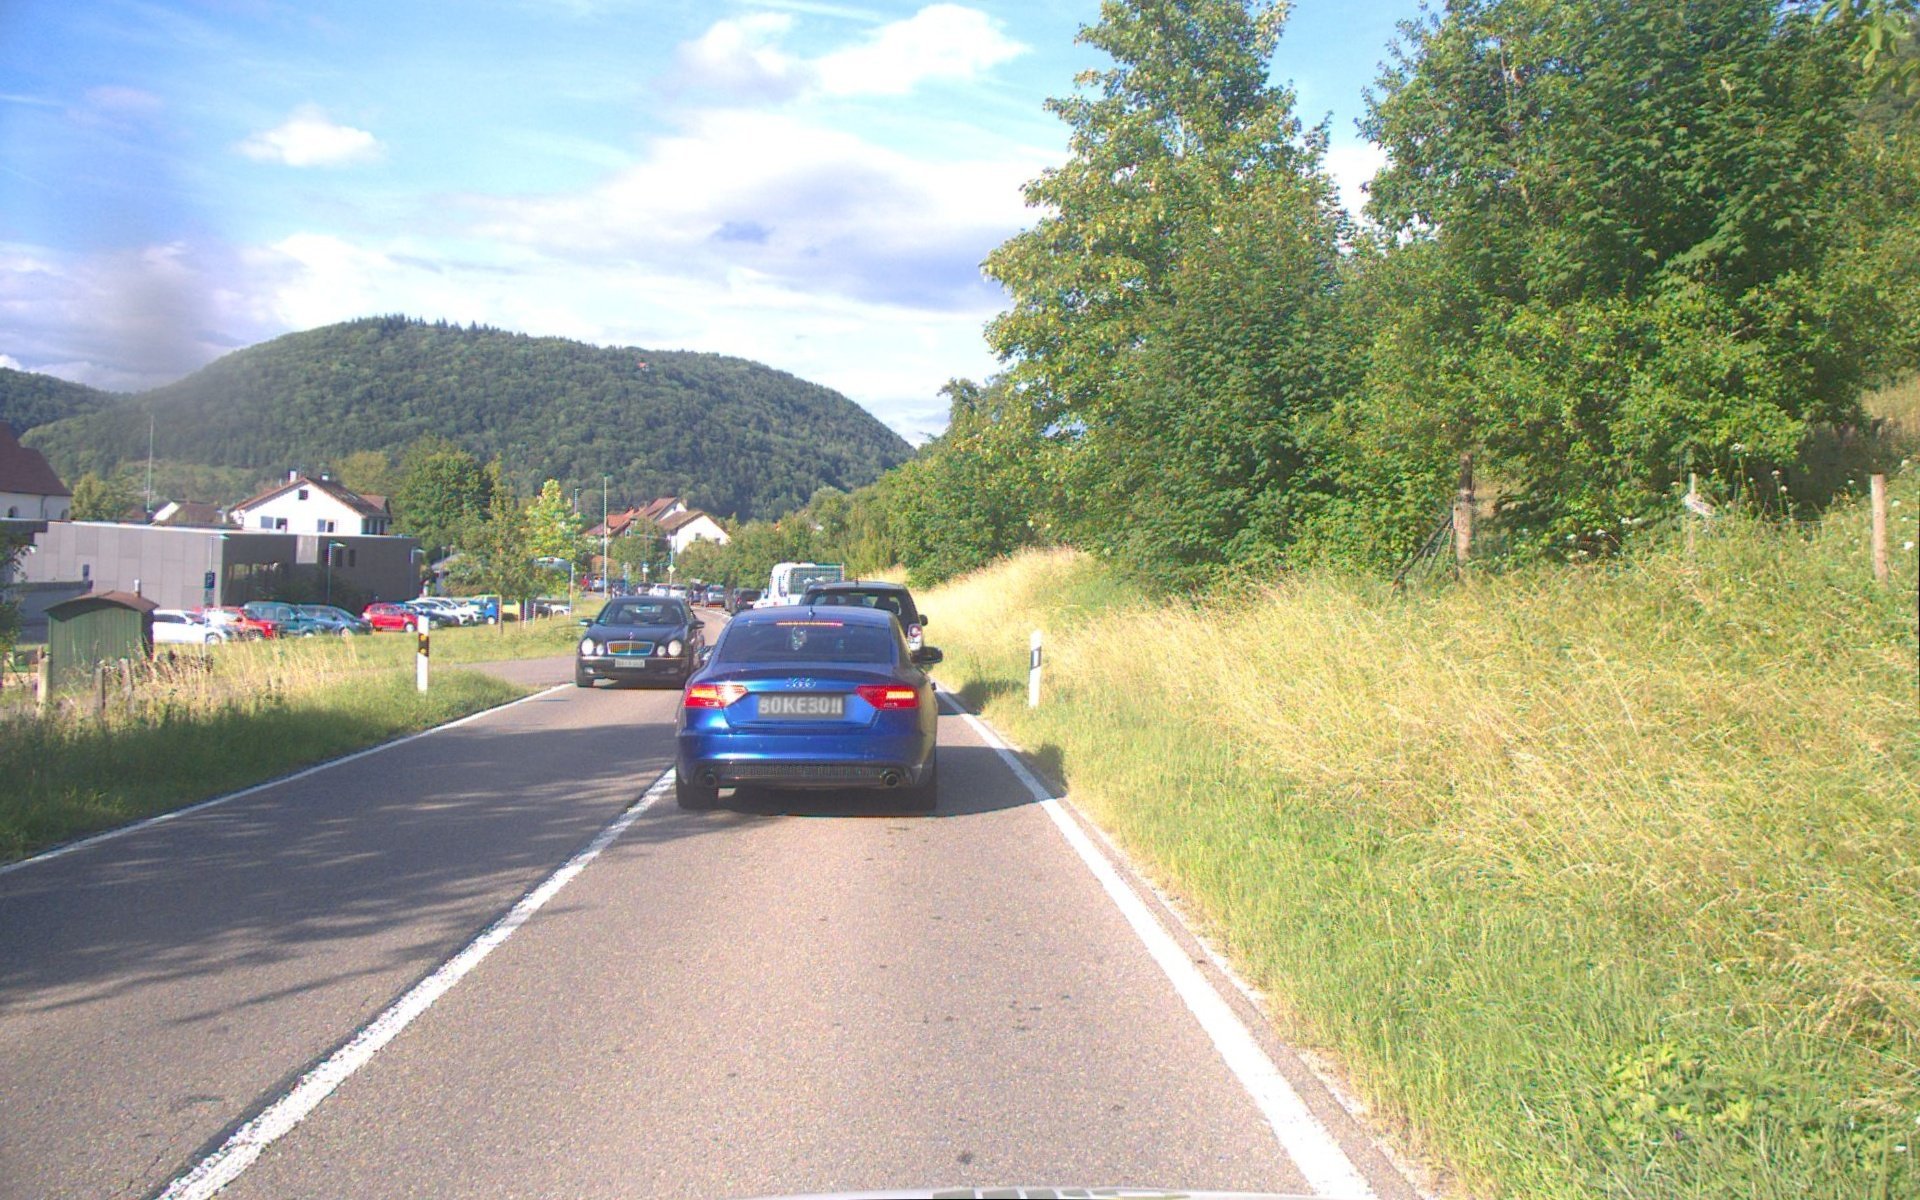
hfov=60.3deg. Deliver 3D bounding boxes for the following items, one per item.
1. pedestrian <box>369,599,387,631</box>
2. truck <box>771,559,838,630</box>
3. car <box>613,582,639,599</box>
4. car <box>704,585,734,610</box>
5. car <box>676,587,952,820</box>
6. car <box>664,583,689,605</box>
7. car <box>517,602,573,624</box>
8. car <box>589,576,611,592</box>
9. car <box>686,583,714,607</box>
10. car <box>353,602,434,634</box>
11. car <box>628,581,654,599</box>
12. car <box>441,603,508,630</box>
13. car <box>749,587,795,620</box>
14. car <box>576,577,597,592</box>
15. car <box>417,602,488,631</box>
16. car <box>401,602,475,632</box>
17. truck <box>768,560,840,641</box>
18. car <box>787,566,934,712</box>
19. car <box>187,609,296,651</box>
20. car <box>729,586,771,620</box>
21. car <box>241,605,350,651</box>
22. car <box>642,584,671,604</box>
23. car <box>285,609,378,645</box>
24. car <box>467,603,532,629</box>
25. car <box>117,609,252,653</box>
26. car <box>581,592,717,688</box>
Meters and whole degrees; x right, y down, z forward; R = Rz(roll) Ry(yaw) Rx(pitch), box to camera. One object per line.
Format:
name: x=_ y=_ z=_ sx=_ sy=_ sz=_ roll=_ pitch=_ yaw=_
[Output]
pedestrian: x=-38.170 y=0.977 z=108.506 sx=0.809 sy=2.049 sz=0.972 roll=1 pitch=0 yaw=-4
truck: x=-6.207 y=-0.200 z=65.181 sx=2.189 sy=2.615 sz=6.693 roll=1 pitch=0 yaw=-9
car: x=-30.386 y=-0.850 z=150.565 sx=1.679 sy=1.455 sz=4.026 roll=1 pitch=0 yaw=-21
car: x=-17.229 y=-0.199 z=118.252 sx=1.813 sy=1.742 sz=3.987 roll=1 pitch=0 yaw=-12
car: x=-1.005 y=0.662 z=12.339 sx=1.719 sy=1.455 sz=3.844 roll=1 pitch=0 yaw=-3
car: x=-23.212 y=-0.515 z=135.339 sx=1.813 sy=1.742 sz=3.987 roll=1 pitch=0 yaw=-12
car: x=-31.790 y=1.000 z=126.823 sx=3.910 sy=1.606 sz=1.750 roll=1 pitch=0 yaw=-6
car: x=-40.305 y=-1.787 z=185.064 sx=1.819 sy=1.742 sz=3.974 roll=1 pitch=0 yaw=-21
car: x=-19.815 y=-0.355 z=125.972 sx=1.813 sy=1.742 sz=3.987 roll=1 pitch=0 yaw=-12
car: x=-31.651 y=1.013 z=92.447 sx=3.910 sy=1.741 sz=1.997 roll=1 pitch=0 yaw=-6
car: x=-30.793 y=-0.948 z=159.630 sx=1.819 sy=1.742 sz=3.974 roll=1 pitch=0 yaw=-21
car: x=-32.178 y=1.063 z=109.741 sx=3.910 sy=1.741 sz=1.997 roll=1 pitch=0 yaw=-6
car: x=-8.962 y=0.150 z=78.664 sx=1.813 sy=1.508 sz=3.988 roll=1 pitch=0 yaw=-12
car: x=-43.484 y=-1.807 z=192.707 sx=1.819 sy=1.742 sz=3.974 roll=1 pitch=0 yaw=-21
car: x=-31.868 y=1.048 z=103.966 sx=3.910 sy=1.741 sz=1.997 roll=1 pitch=0 yaw=-6
car: x=-31.759 y=1.039 z=100.684 sx=3.910 sy=1.741 sz=1.997 roll=1 pitch=0 yaw=-6
truck: x=-5.322 y=0.030 z=57.264 sx=2.185 sy=2.615 sz=6.099 roll=1 pitch=0 yaw=-3
car: x=-1.266 y=0.474 z=21.526 sx=1.719 sy=1.710 sz=3.844 roll=1 pitch=0 yaw=-3
car: x=-31.182 y=1.288 z=71.865 sx=3.910 sy=1.741 sz=1.997 roll=1 pitch=0 yaw=-6
car: x=-11.385 y=0.155 z=89.499 sx=1.814 sy=1.742 sz=3.986 roll=1 pitch=0 yaw=-13
car: x=-31.171 y=1.307 z=77.688 sx=4.321 sy=2.043 sz=1.997 roll=1 pitch=0 yaw=-6
car: x=-27.039 y=-0.497 z=147.516 sx=1.819 sy=1.742 sz=3.974 roll=1 pitch=0 yaw=-21
car: x=-31.023 y=1.322 z=81.737 sx=3.910 sy=1.741 sz=1.997 roll=1 pitch=0 yaw=-6
car: x=-31.251 y=1.083 z=112.366 sx=3.910 sy=1.741 sz=1.997 roll=1 pitch=0 yaw=-6
car: x=-32.206 y=1.266 z=68.824 sx=4.640 sy=1.741 sz=1.997 roll=1 pitch=0 yaw=-6
car: x=-4.820 y=0.583 z=26.084 sx=1.562 sy=1.377 sz=4.200 roll=1 pitch=0 yaw=-3
